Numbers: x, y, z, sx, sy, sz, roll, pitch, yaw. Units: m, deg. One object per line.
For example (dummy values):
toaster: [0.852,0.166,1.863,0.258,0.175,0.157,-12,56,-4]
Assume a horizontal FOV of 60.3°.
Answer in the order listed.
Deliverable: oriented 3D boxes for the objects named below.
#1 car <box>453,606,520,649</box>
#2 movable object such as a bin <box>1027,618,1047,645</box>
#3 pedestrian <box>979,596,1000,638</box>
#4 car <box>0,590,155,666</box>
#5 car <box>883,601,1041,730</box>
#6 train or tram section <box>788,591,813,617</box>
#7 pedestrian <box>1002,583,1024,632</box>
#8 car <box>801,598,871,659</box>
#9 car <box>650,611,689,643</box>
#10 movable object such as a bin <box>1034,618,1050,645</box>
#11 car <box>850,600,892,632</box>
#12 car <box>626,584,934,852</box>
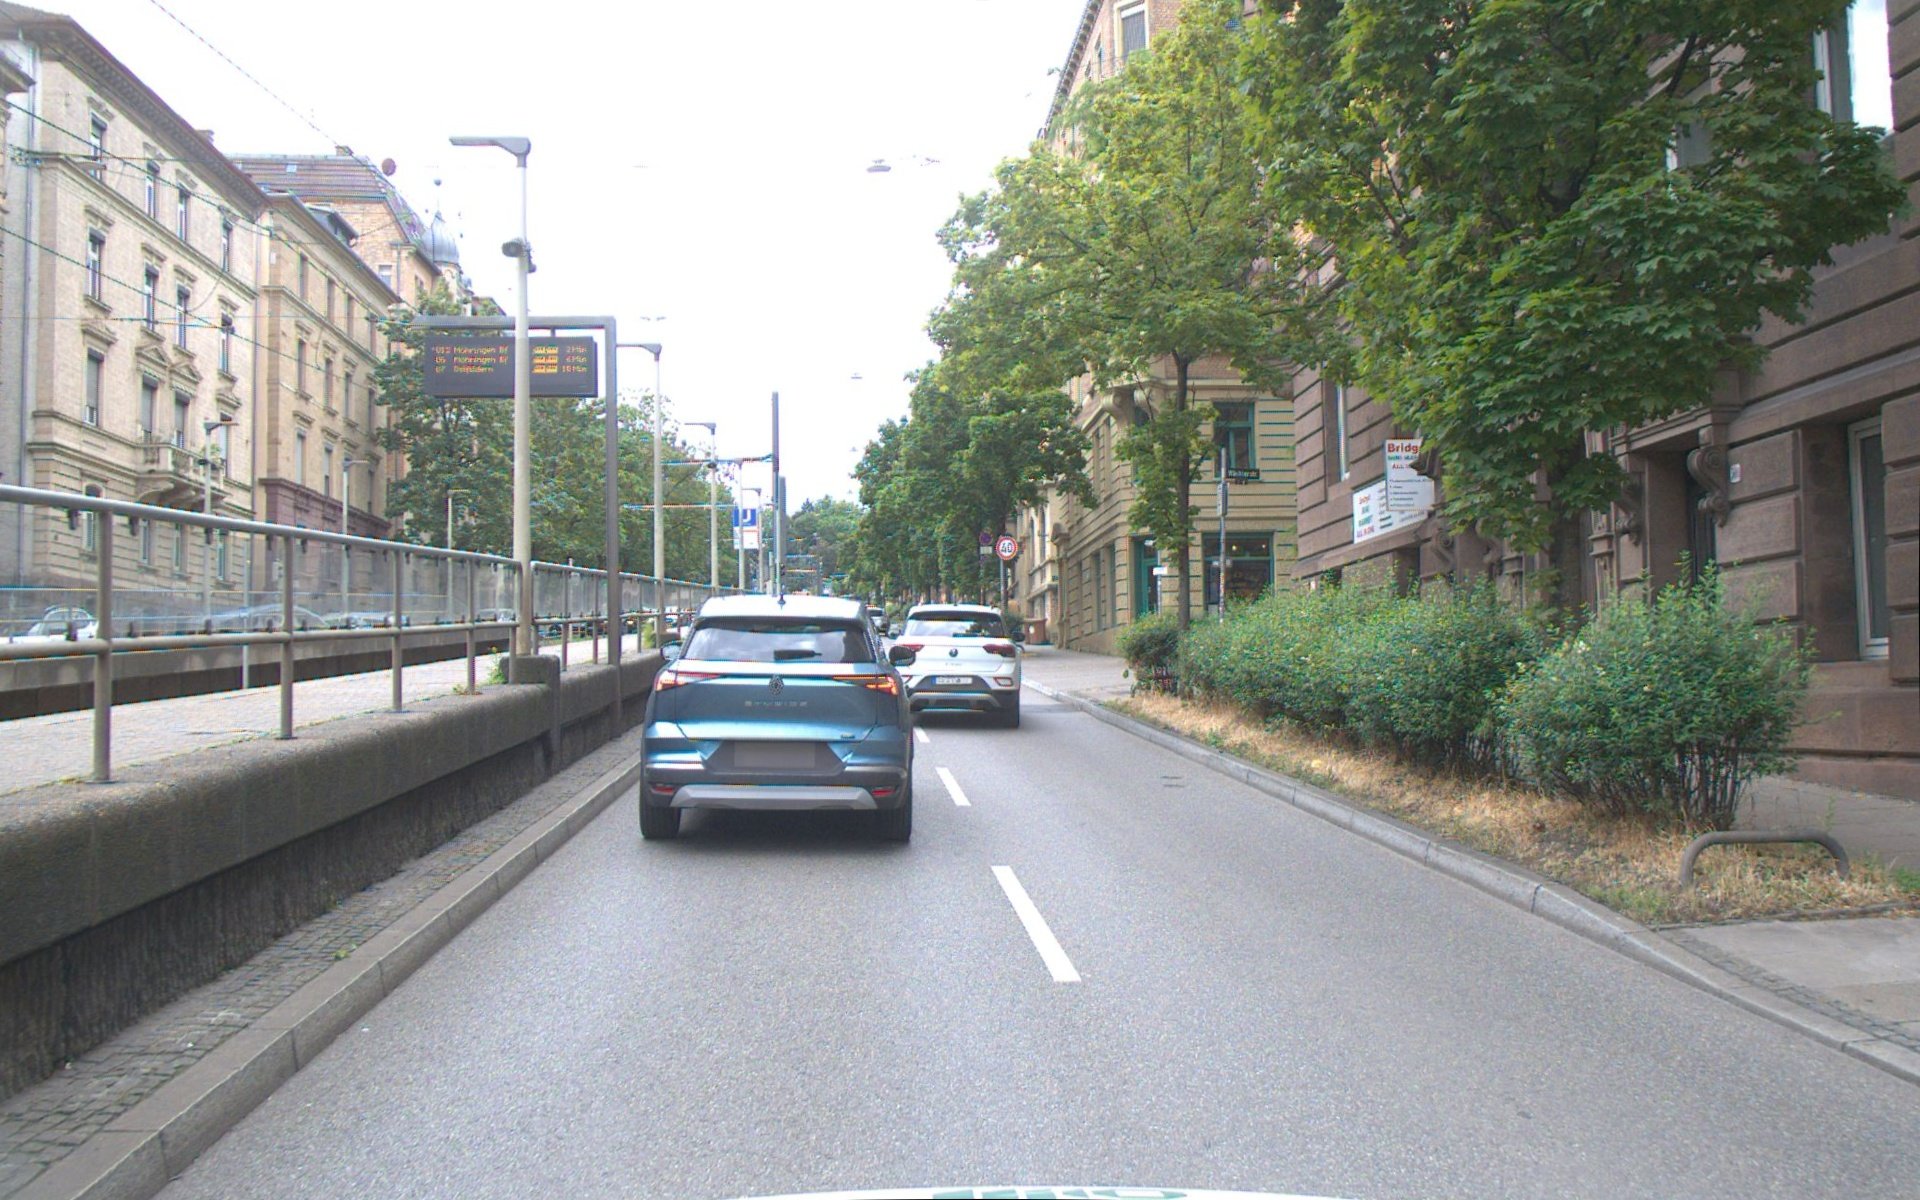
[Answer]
car: [-19.803,1.120,69.347,1.898,1.709,3.996,-2,0,-4]
movable object such as a bin: [2.780,1.138,59.690,0.485,0.935,0.498,-3,-1,45]
pedestrian: [1.126,0.656,63.863,0.672,1.601,1.215,-2,0,-4]
car: [-18.663,0.551,34.745,1.733,1.496,4.256,1,0,-5]
car: [-0.063,0.841,22.685,1.800,1.574,4.189,1,-1,-5]
train or tram section: [-22.413,0.631,232.883,2.936,3.408,13.429,0,-1,-3]
pedestrian: [2.055,0.305,63.724,0.672,1.861,1.120,-2,-1,-4]
car: [-3.388,0.772,45.645,1.799,1.574,4.190,1,-1,-4]
car: [-16.781,1.535,95.717,1.675,1.766,4.573,-1,0,-3]
movable object such as a bin: [2.925,1.135,59.045,0.489,0.935,0.444,-1,0,16]
car: [-4.552,0.810,84.920,2.027,1.574,4.191,1,-1,-2]
car: [-1.194,0.731,11.948,1.799,1.574,4.190,1,-1,-4]
